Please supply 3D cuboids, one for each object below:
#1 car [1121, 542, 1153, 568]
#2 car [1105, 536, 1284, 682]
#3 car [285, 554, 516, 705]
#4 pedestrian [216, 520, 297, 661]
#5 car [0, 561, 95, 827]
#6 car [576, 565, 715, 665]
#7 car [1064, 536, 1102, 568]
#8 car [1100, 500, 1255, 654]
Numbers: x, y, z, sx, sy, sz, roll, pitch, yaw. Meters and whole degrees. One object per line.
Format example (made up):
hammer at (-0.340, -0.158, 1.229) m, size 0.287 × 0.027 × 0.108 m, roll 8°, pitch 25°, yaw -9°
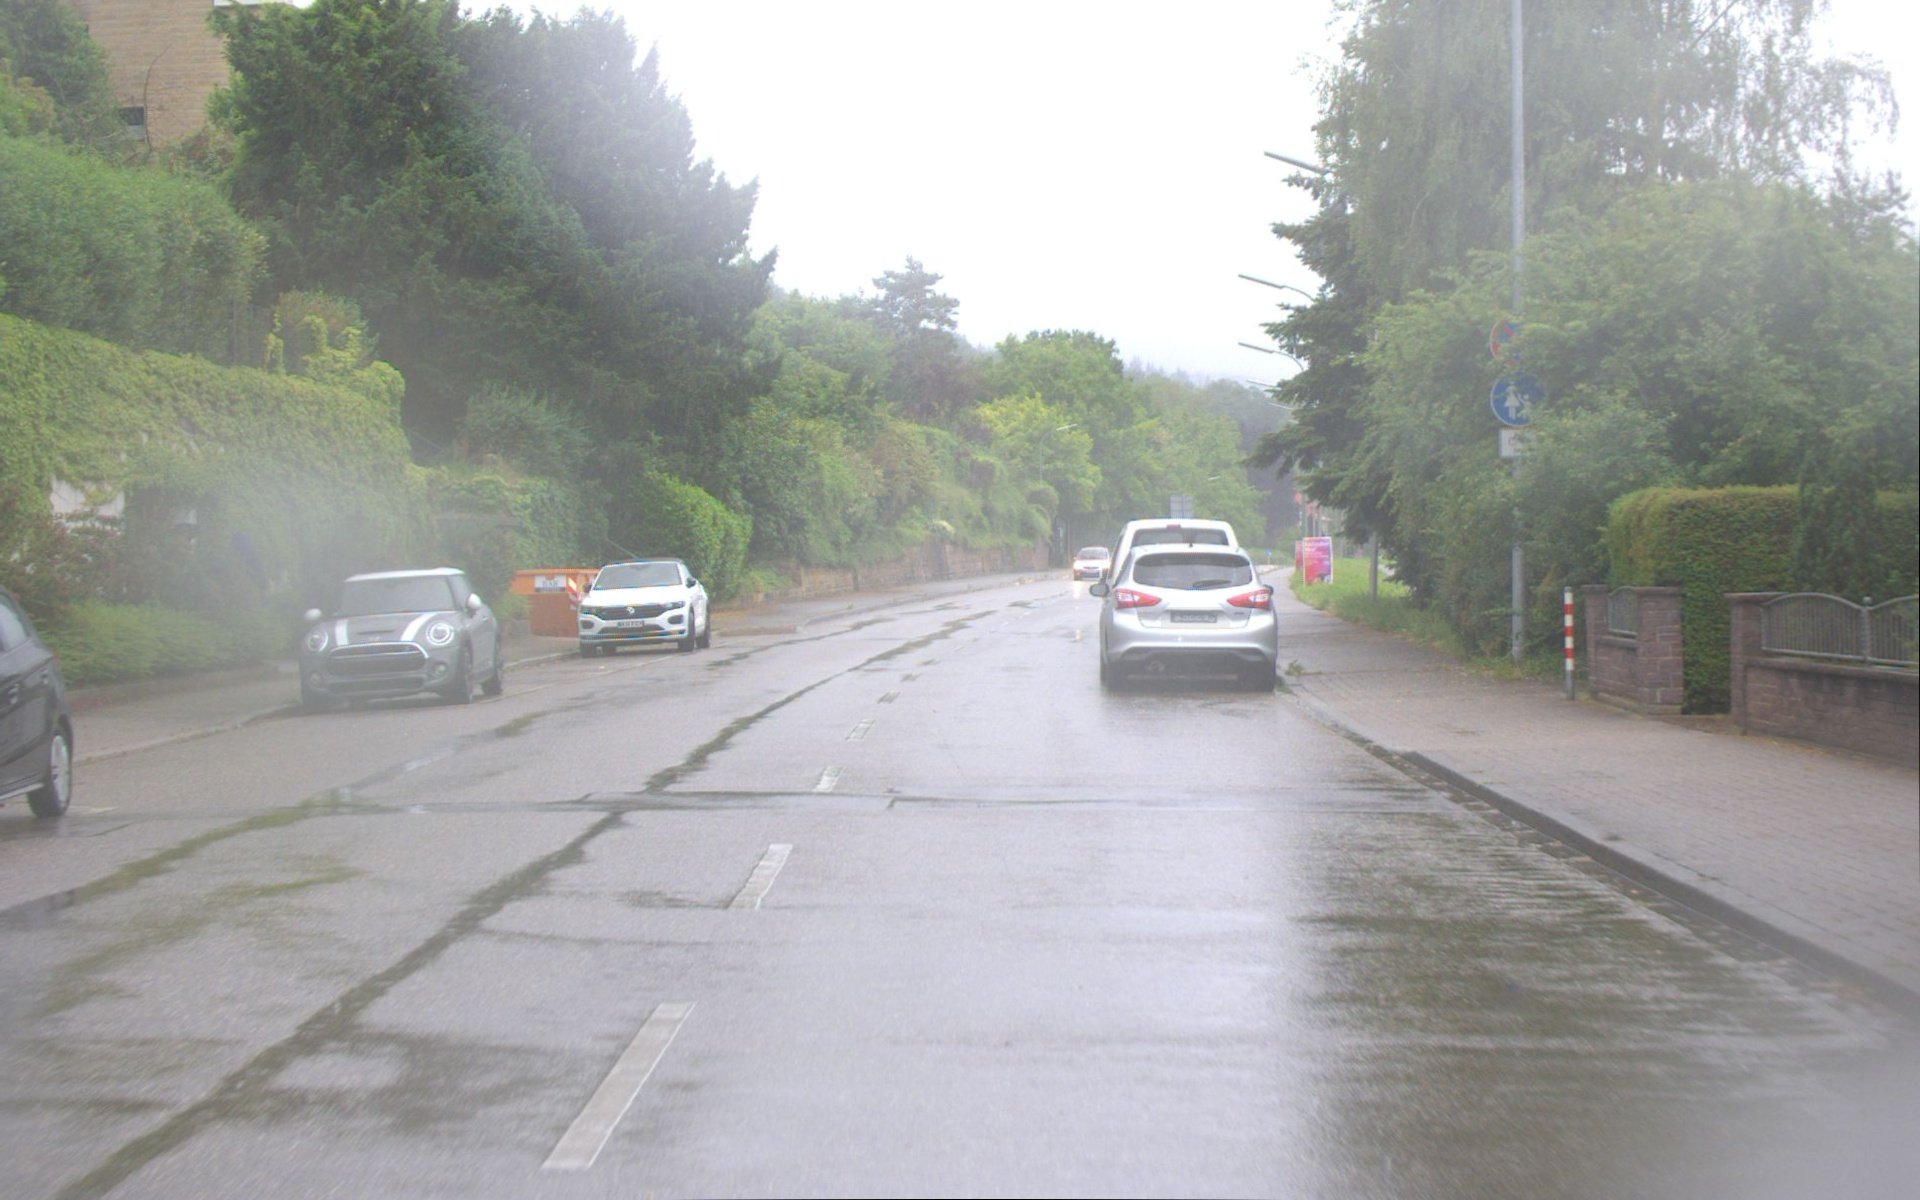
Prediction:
car at (9.482, -2.416, 183.953) m, size 1.654 × 1.347 × 3.987 m, roll 0°, pitch 0°, yaw 3°
car at (2.471, 0.074, 36.656) m, size 1.789 × 1.455 × 4.308 m, roll 0°, pitch 0°, yaw 3°
car at (-5.831, 0.270, 36.196) m, size 1.756 × 1.397 × 3.770 m, roll -3°, pitch 1°, yaw 0°
pedestrian at (-9.448, -0.125, 46.197) m, size 0.842 × 1.874 × 0.901 m, roll 0°, pitch 0°, yaw 4°
car at (-6.062, 0.565, 18.641) m, size 1.756 × 1.404 × 3.705 m, roll -4°, pitch 1°, yaw -1°
car at (-5.010, 0.213, 55.248) m, size 1.756 × 1.492 × 4.220 m, roll -2°, pitch 0°, yaw 1°
car at (5.596, -2.178, 156.428) m, size 1.662 × 1.456 × 3.662 m, roll 0°, pitch 0°, yaw 1°
car at (2.652, -0.286, 42.260) m, size 1.785 × 1.784 × 4.360 m, roll 0°, pitch 0°, yaw 3°
